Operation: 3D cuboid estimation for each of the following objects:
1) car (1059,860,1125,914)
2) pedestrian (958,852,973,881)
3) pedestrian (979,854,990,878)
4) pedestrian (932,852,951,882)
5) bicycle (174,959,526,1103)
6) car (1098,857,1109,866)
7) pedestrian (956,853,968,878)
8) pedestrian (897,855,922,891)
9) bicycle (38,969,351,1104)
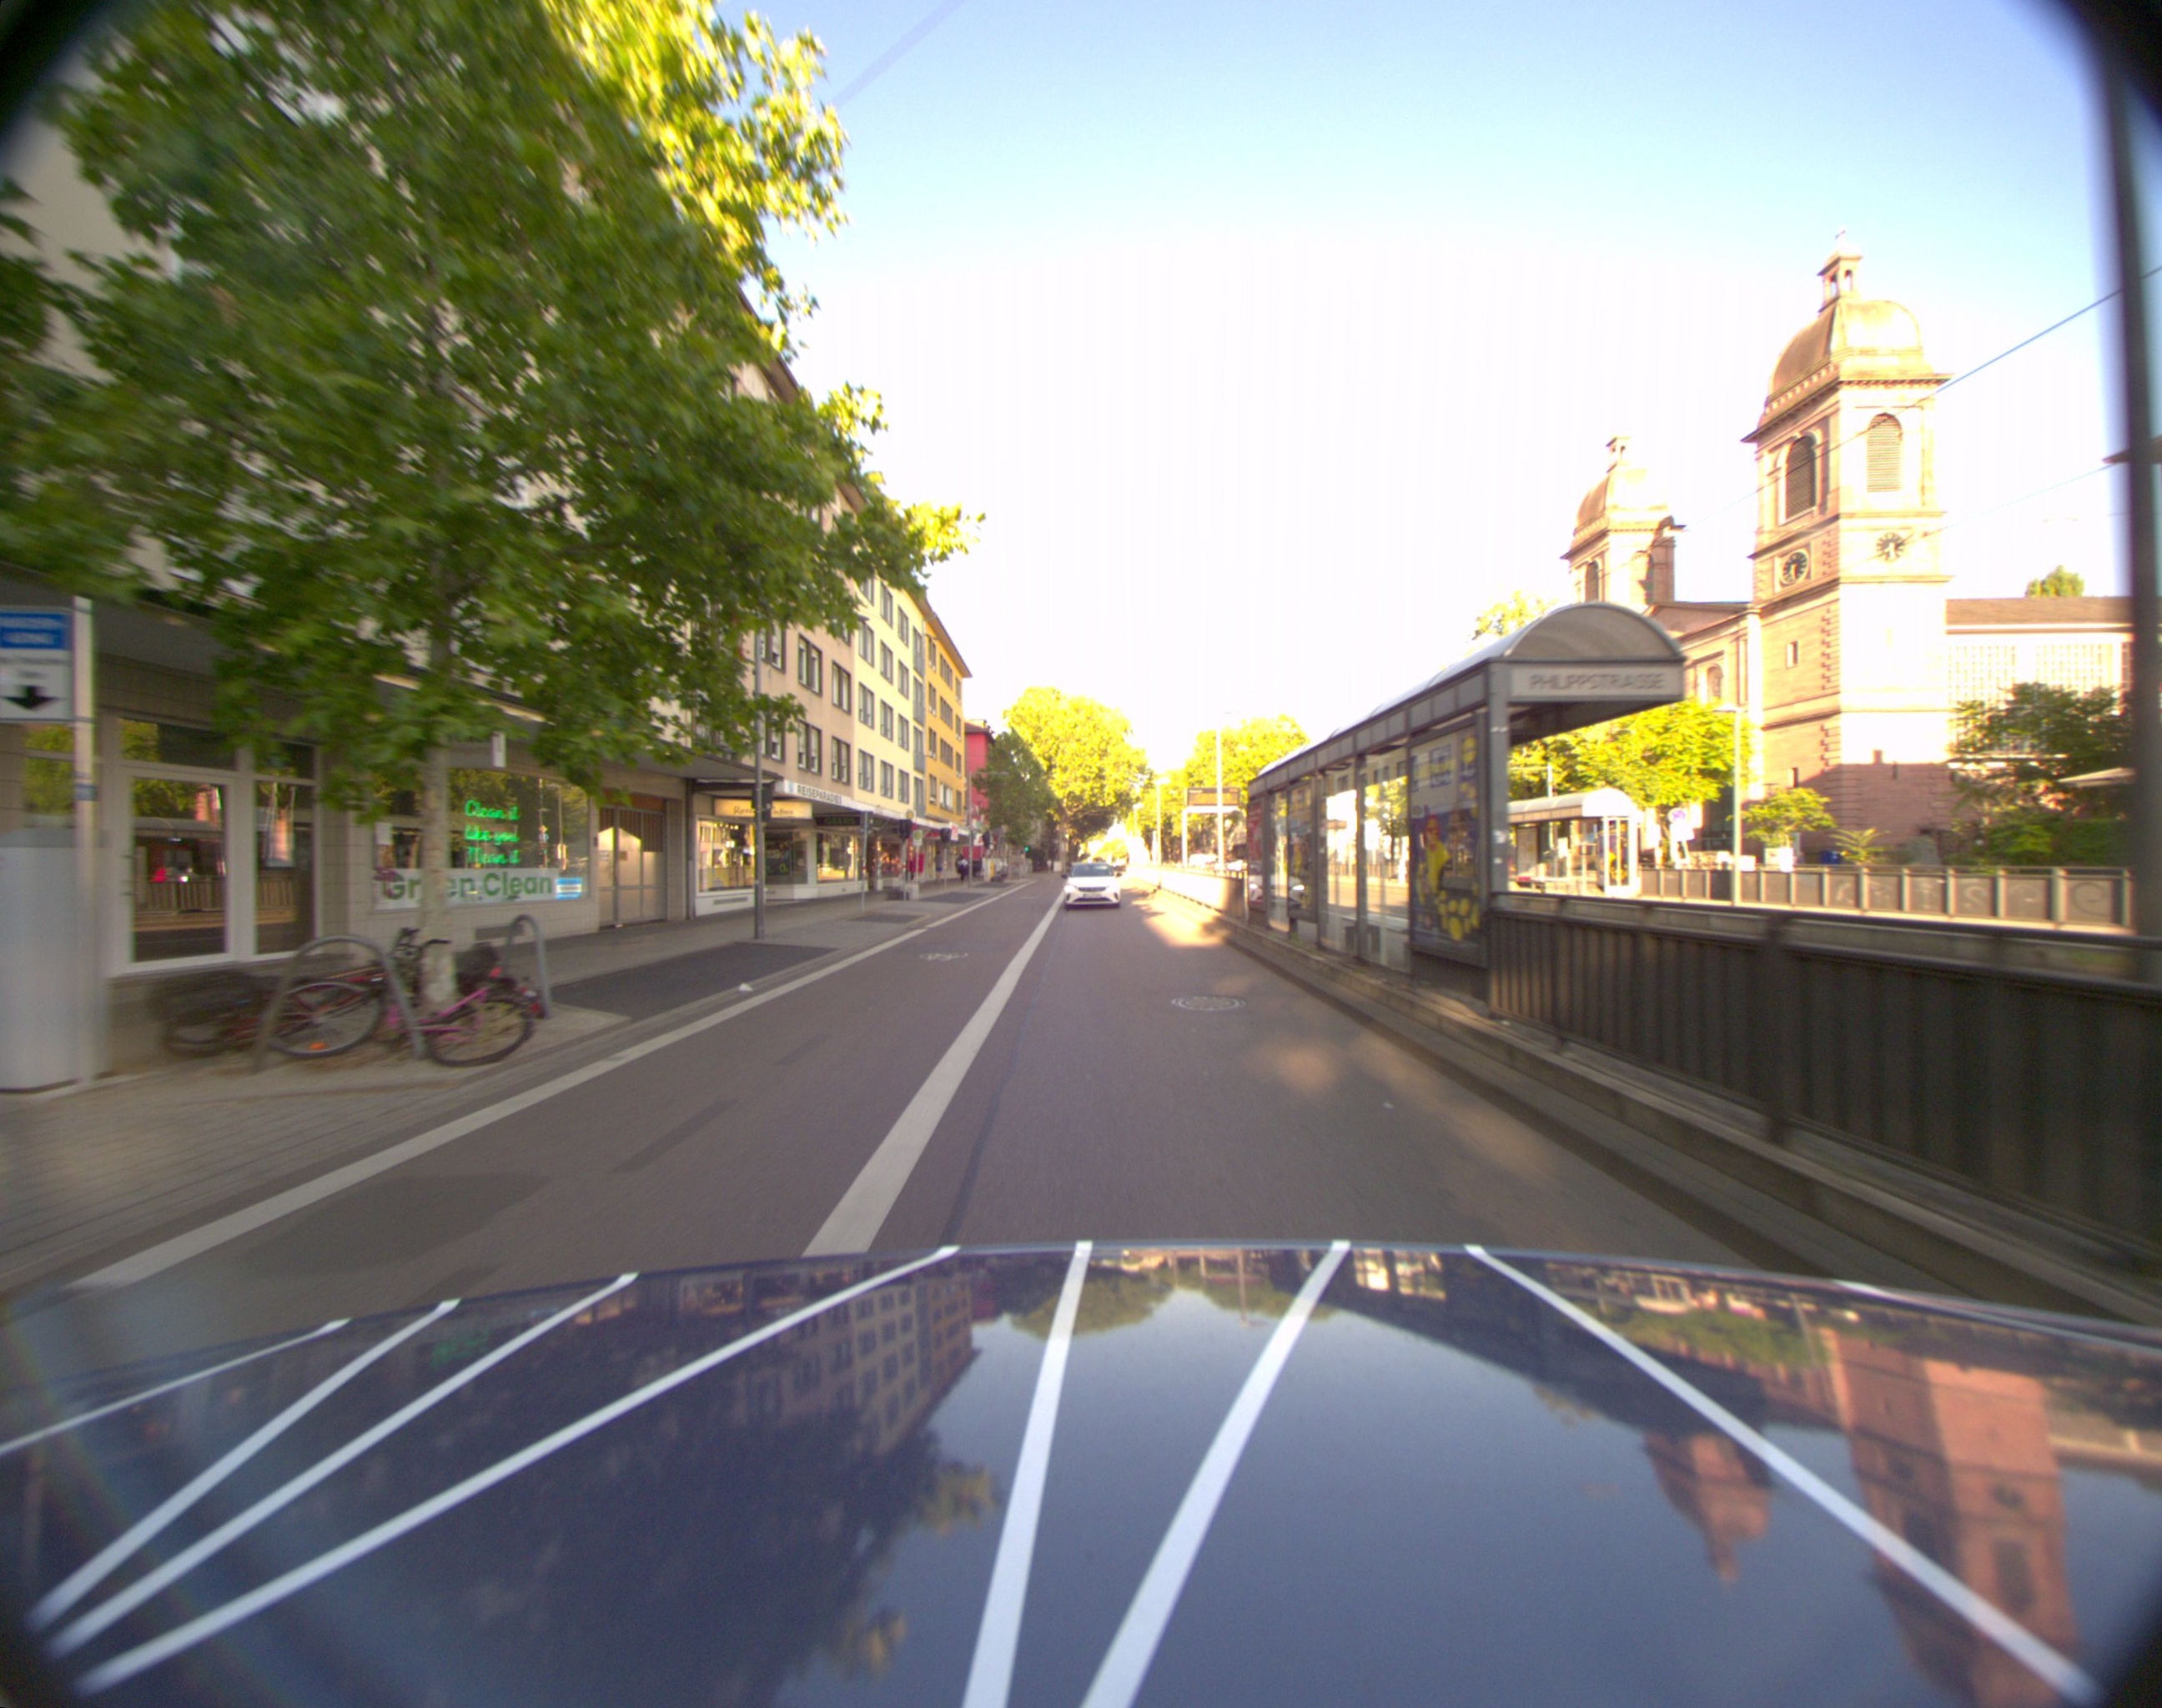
[{"bbox_3d":[0.338,0.972,23.635,1.826,1.433,3.827,-2,0,1],"label":"car"},{"bbox_3d":[-6.764,0.753,44.496,0.693,1.665,0.659,1,1,0],"label":"pedestrian"},{"bbox_3d":[-6.718,0.819,52.851,0.634,1.645,0.651,-3,1,0],"label":"pedestrian"},{"bbox_3d":[-8.159,0.756,44.361,0.851,1.645,0.915,-3,1,0],"label":"pedestrian"},{"bbox_3d":[-5.328,1.266,5.697,1.763,0.773,0.702,0,0,-22],"label":"bicycle"},{"bbox_3d":[4.211,1.378,141.697,1.719,1.390,3.998,-3,1,-4],"label":"car"},{"bbox_3d":[-7.970,0.758,50.934,0.634,1.645,0.651,-3,1,0],"label":"pedestrian"},{"bbox_3d":[-8.083,0.894,35.828,0.851,1.645,0.915,-3,1,0],"label":"pedestrian"},{"bbox_3d":[-6.561,1.306,5.798,0.840,0.569,1.757,0,0,-22],"label":"bicycle"}]
